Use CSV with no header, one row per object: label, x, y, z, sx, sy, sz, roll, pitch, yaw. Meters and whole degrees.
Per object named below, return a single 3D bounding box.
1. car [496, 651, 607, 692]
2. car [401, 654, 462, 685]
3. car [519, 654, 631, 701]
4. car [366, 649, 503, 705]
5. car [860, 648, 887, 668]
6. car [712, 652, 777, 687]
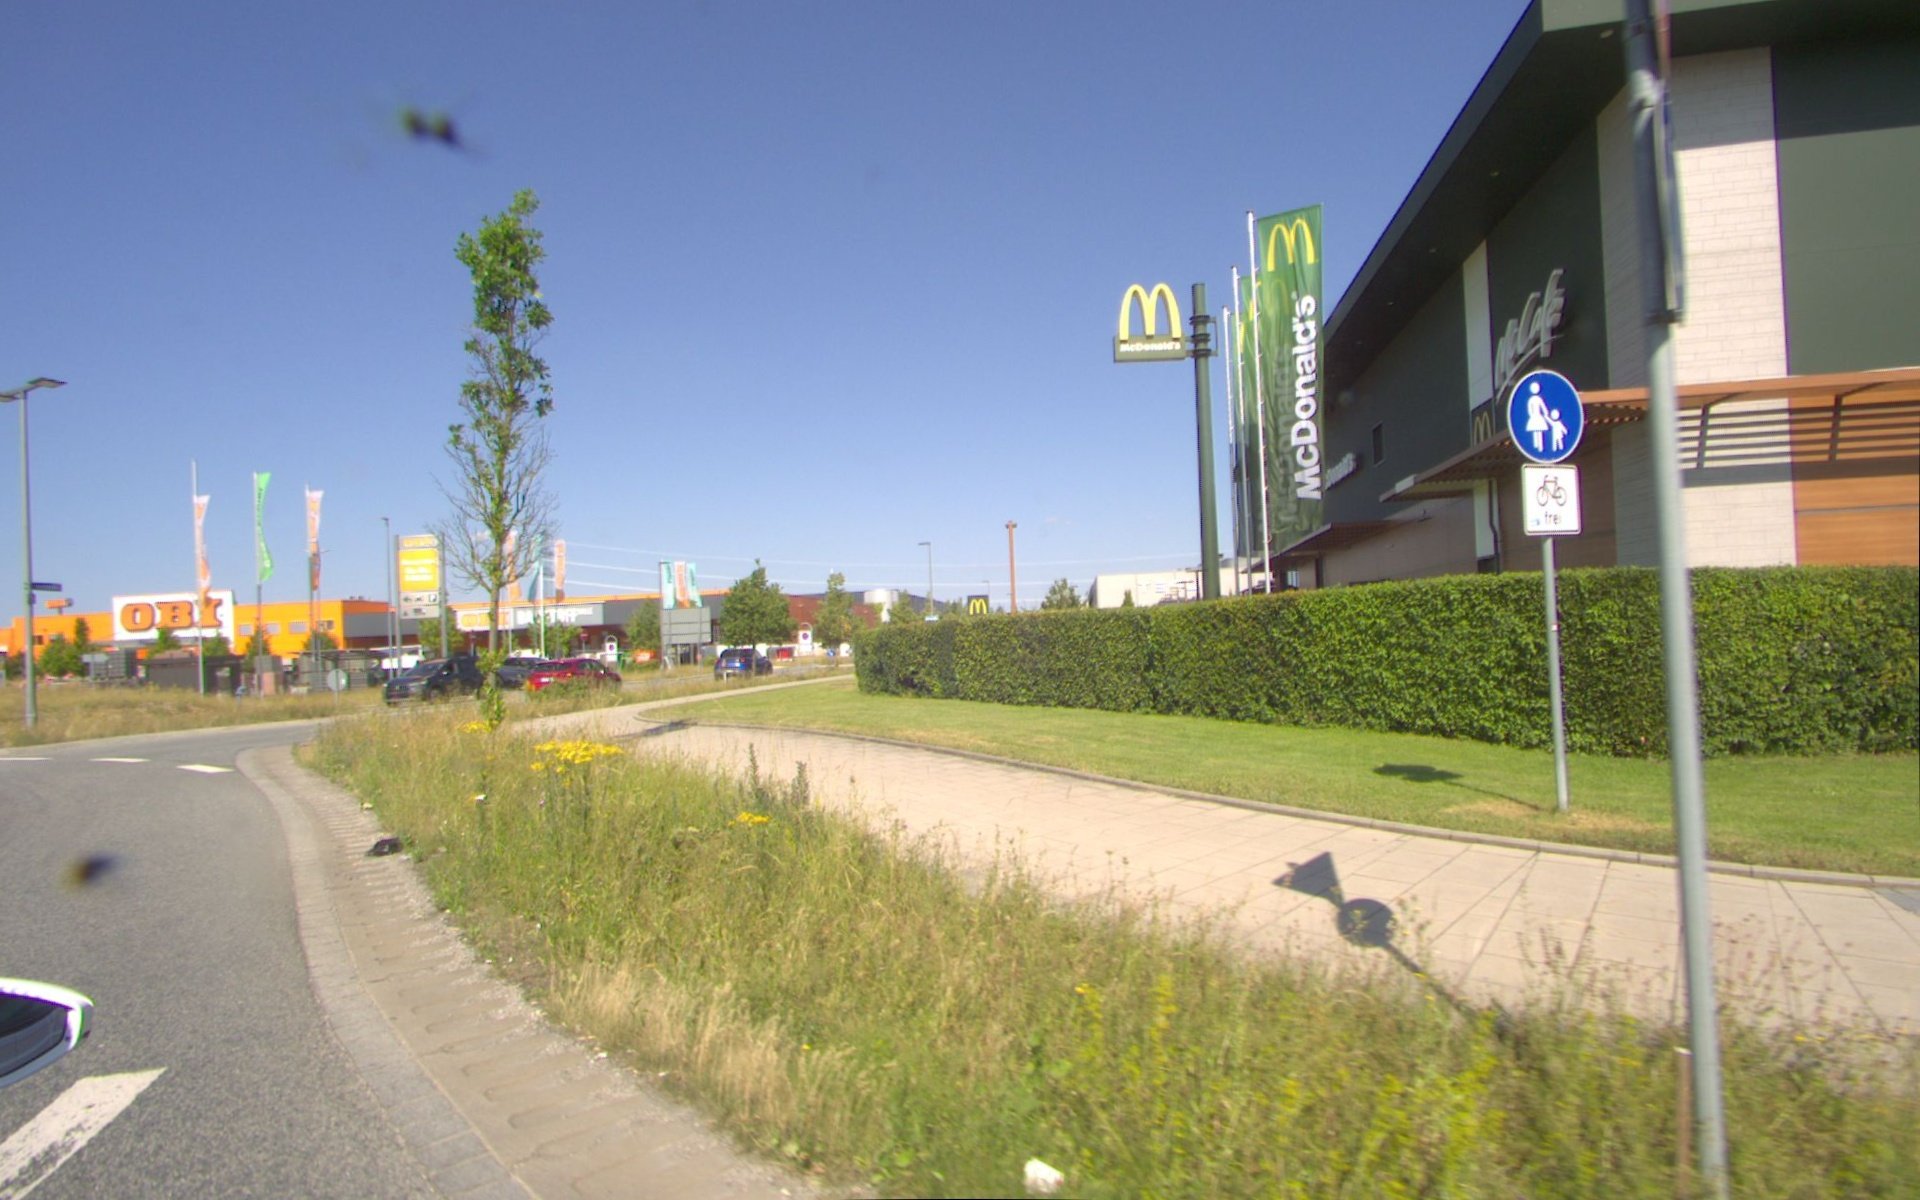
car,-19.811,3.466,48.659,4.612,1.647,2.077,-4,-2,14
car,-33.836,4.463,64.164,1.667,1.863,3.778,-2,-4,5
car,-13.322,2.659,34.896,1.774,1.433,4.117,-1,-2,10
car,-18.969,2.749,36.390,1.920,1.727,4.627,-4,-3,10
car,-6.926,4.611,80.228,1.485,1.459,3.351,-2,-2,6
car,-10.945,3.507,51.166,1.822,1.655,4.081,-2,-3,10
